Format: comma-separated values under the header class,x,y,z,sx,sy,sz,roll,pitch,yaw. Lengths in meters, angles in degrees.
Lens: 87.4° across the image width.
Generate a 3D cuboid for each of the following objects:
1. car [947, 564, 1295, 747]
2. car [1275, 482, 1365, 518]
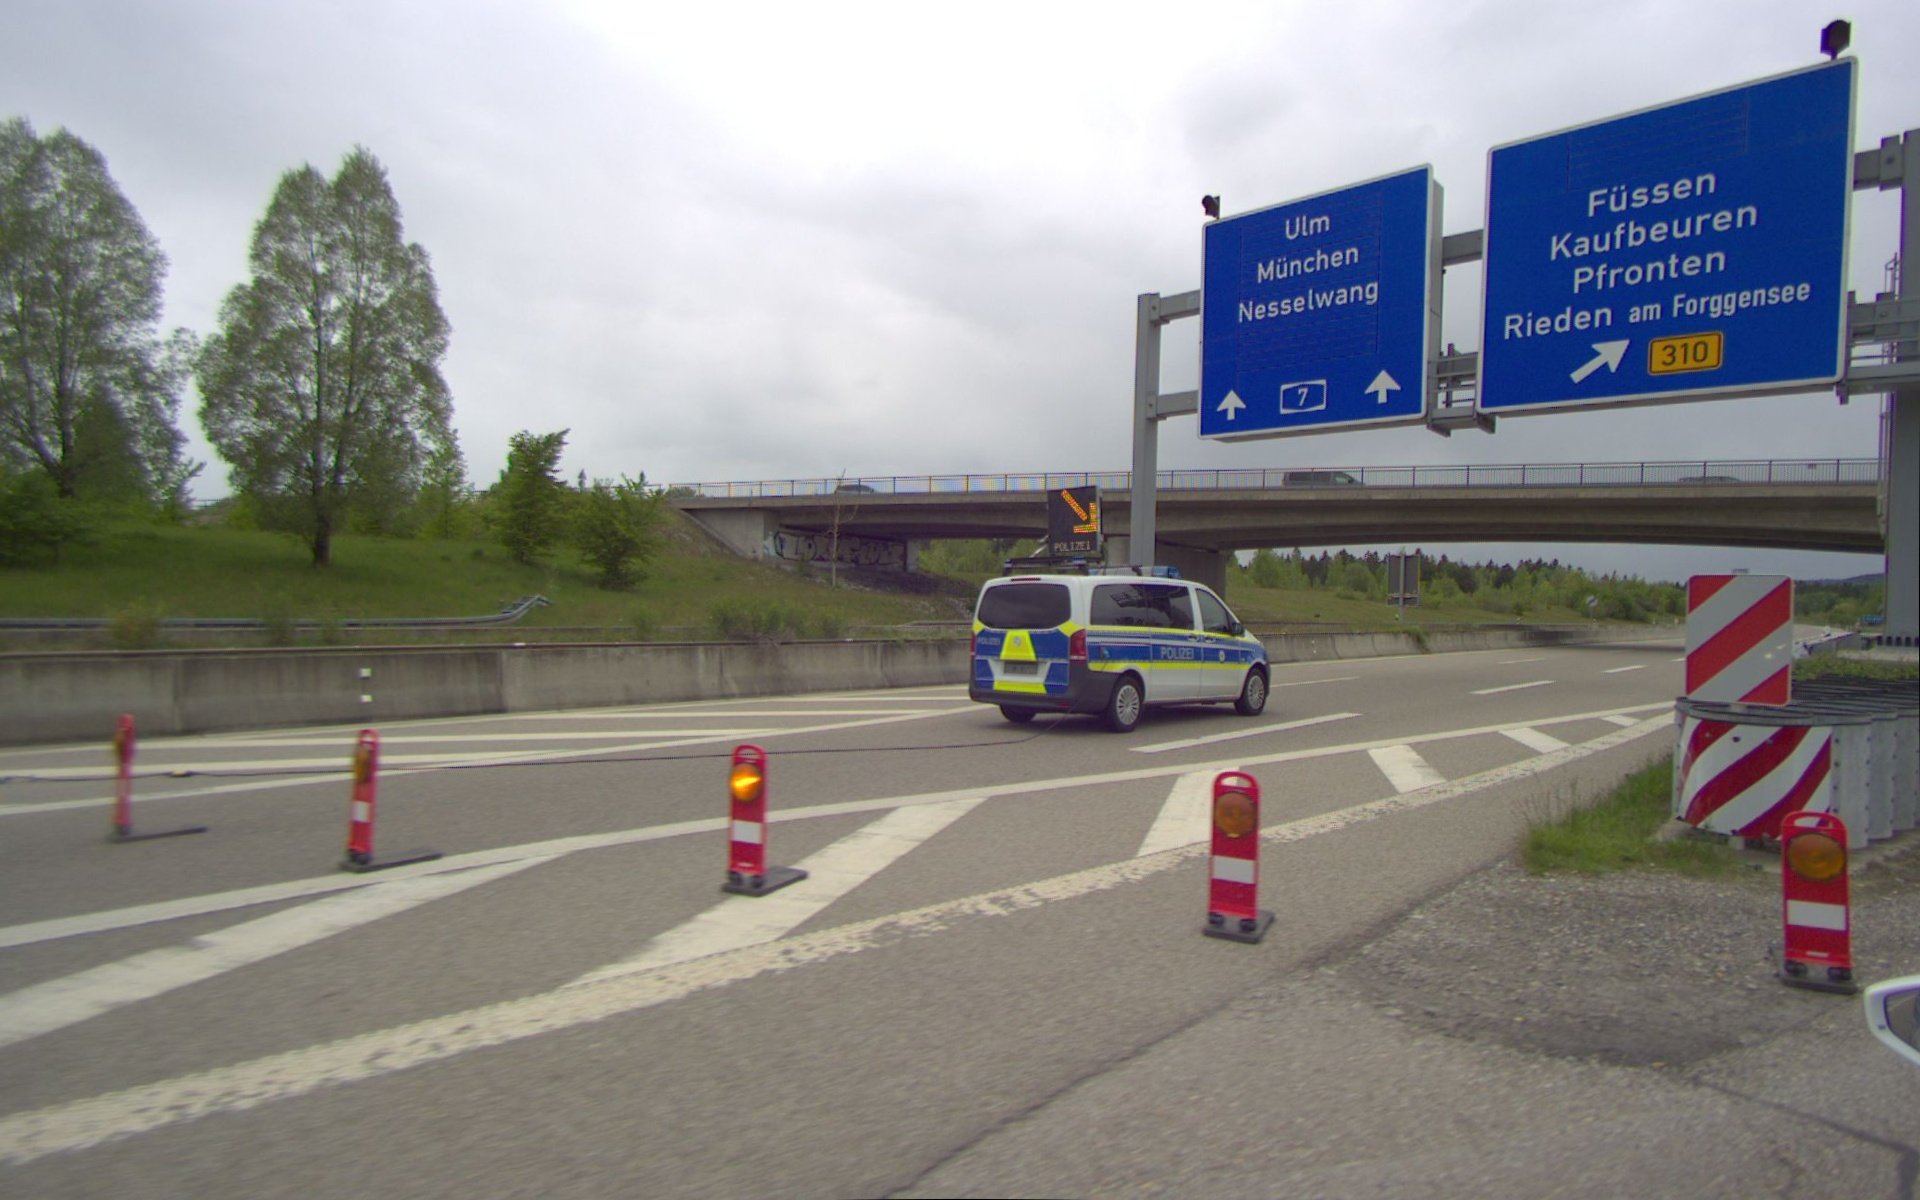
class,x,y,z,sx,sy,sz,roll,pitch,yaw
car,2.383,0.687,13.772,2.262,2.040,5.019,0,-2,44
car,20.899,-5.779,58.319,4.843,1.669,2.000,0,-1,21
